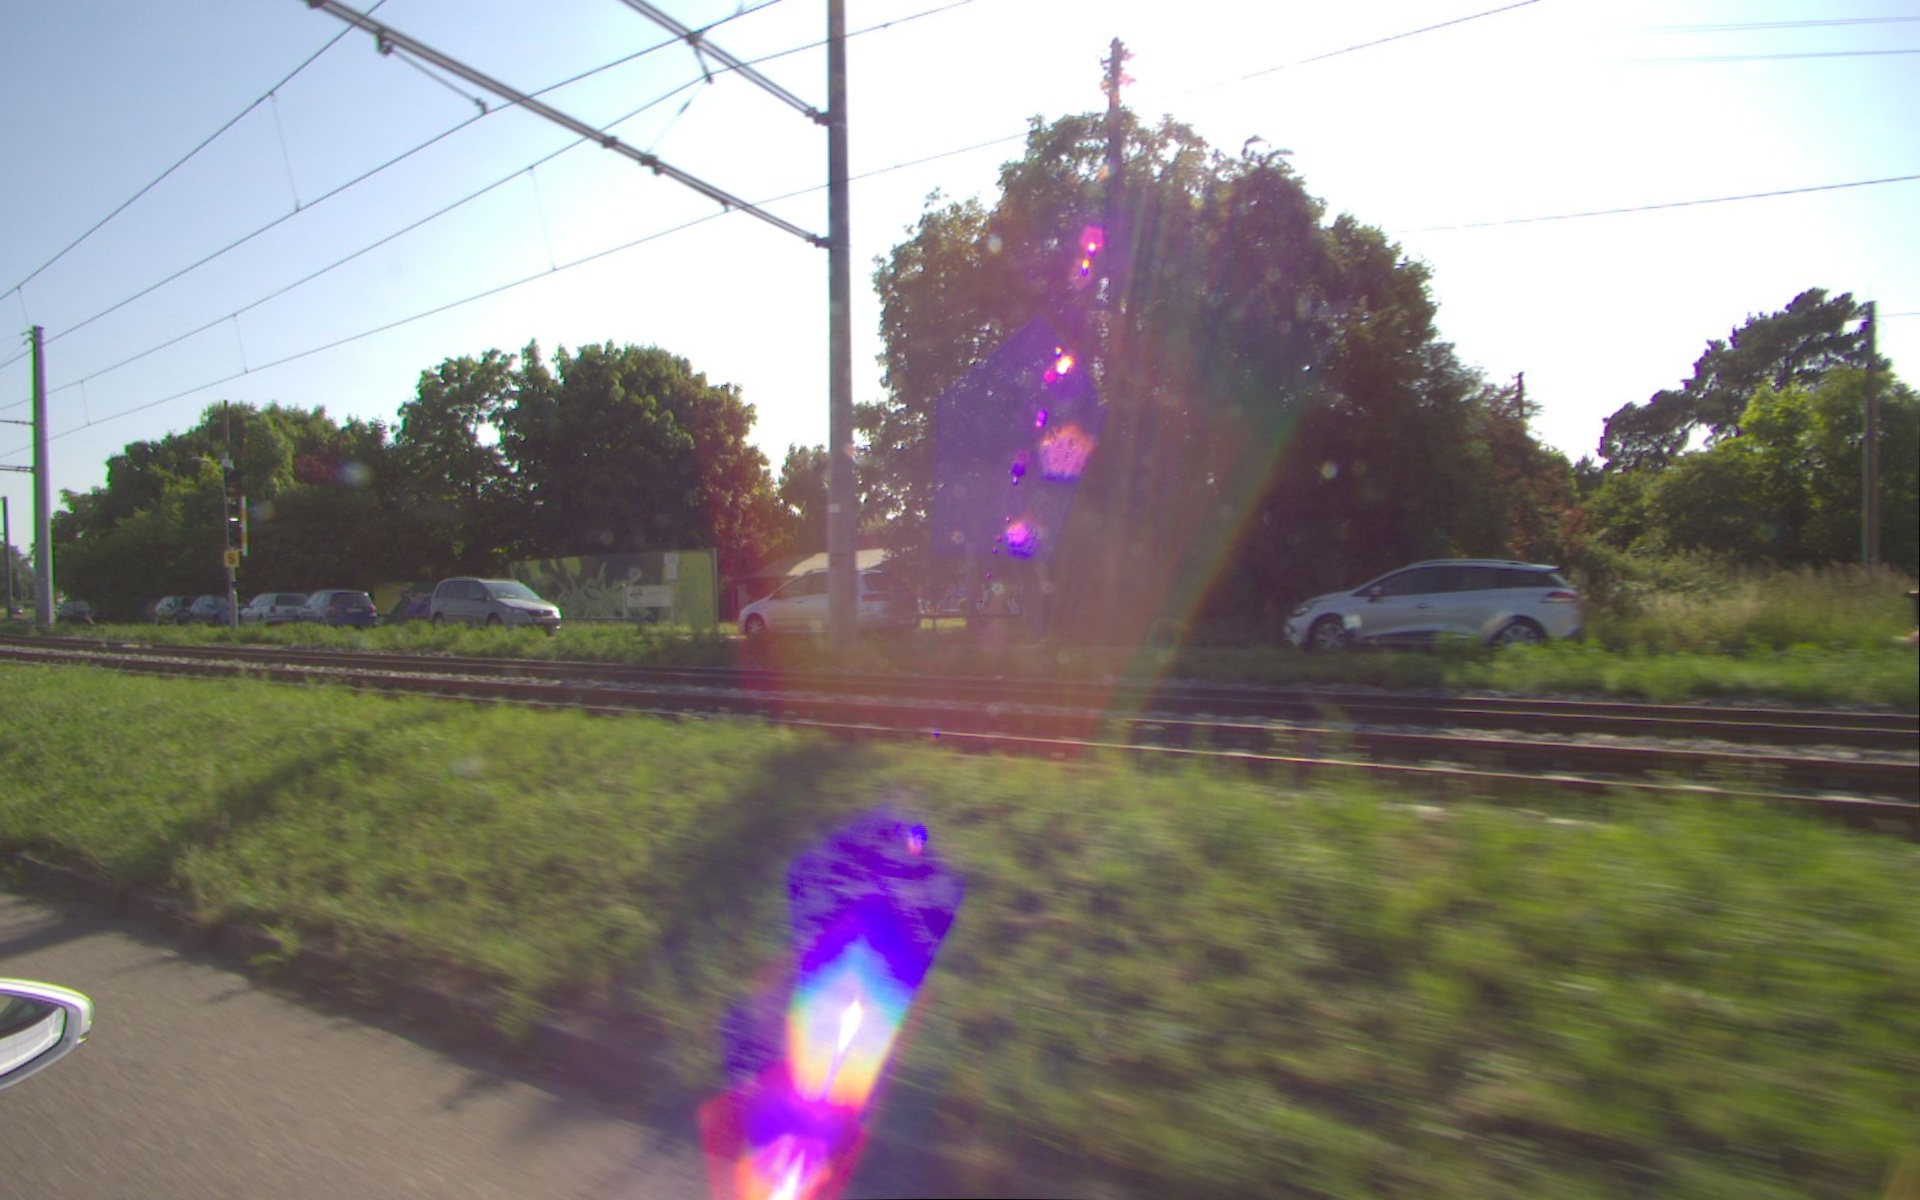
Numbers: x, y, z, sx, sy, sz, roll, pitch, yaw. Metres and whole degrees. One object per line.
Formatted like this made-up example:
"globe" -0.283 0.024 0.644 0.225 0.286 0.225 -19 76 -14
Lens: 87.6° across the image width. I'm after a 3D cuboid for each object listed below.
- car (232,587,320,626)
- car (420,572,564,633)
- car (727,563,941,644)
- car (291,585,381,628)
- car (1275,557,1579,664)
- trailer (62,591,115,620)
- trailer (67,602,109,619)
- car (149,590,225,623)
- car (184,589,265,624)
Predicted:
"car" -27.028 0.226 39.509 4.336 1.485 1.702 1 1 39
"car" -13.262 0.044 28.290 4.419 1.632 1.519 0 2 32
"car" -2.836 0.034 21.995 4.665 1.612 1.900 0 2 37
"car" -22.373 0.217 35.861 3.865 1.449 1.670 1 -1 41
"car" 7.094 0.125 15.406 4.069 1.468 1.531 0 2 30
"trailer" -50.959 0.326 58.555 4.216 1.617 2.015 0 -2 45
"trailer" -53.622 0.646 61.561 1.721 0.951 3.690 4 -3 -44
"car" -34.922 0.300 45.203 4.463 1.429 1.617 0 -1 37
"car" -31.047 0.248 42.254 4.092 1.420 1.480 0 1 34
